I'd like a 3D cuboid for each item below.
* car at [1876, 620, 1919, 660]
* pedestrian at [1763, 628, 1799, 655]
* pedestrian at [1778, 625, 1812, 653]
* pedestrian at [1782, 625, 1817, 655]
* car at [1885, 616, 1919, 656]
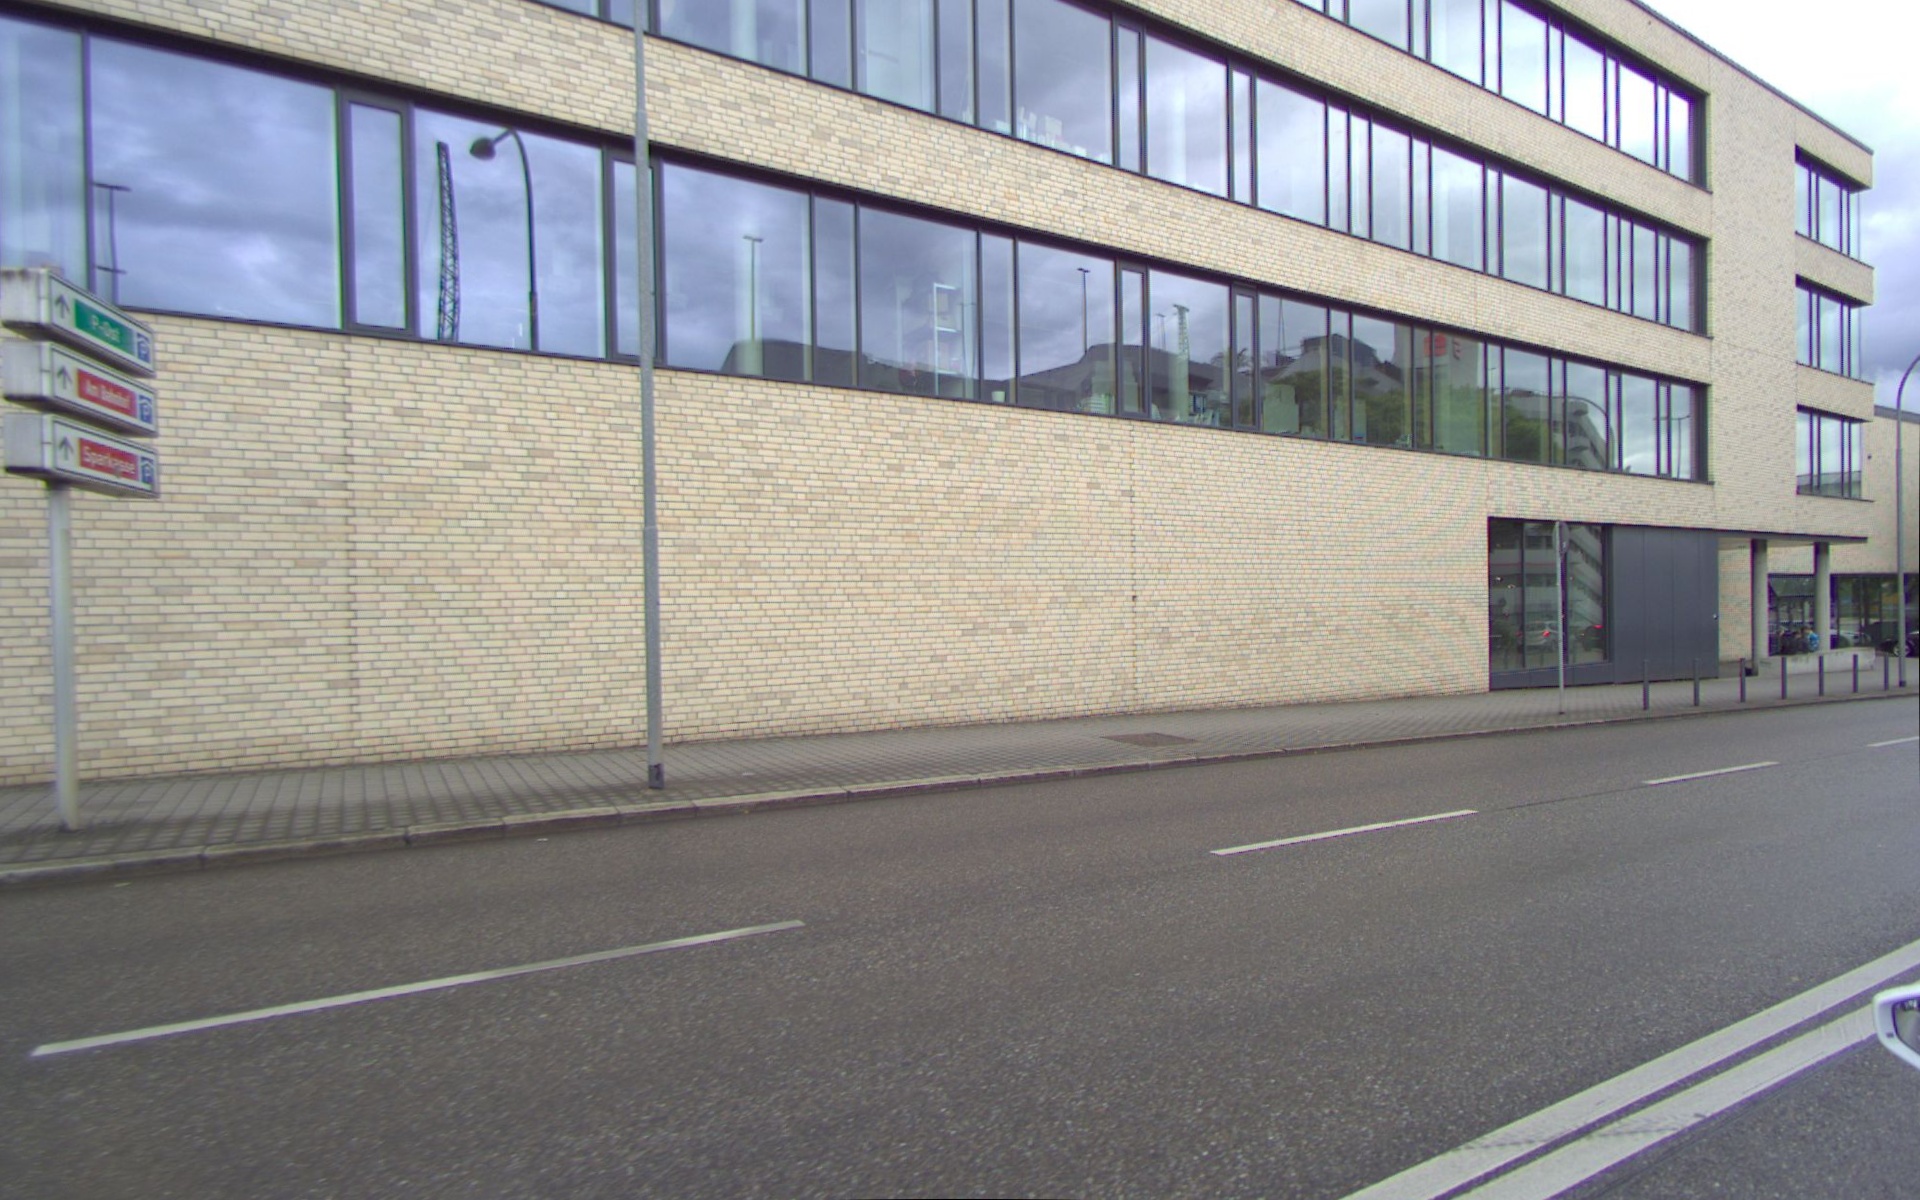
[{"bbox_3d":[40.719,1.645,41.129,1.980,1.608,4.438,1,-1,-35],"label":"car"},{"bbox_3d":[24.952,1.255,30.520,0.751,0.796,0.595,2,1,-30],"label":"pedestrian"},{"bbox_3d":[25.751,1.204,30.982,0.719,0.856,0.583,2,0,-30],"label":"pedestrian"},{"bbox_3d":[26.290,1.255,31.448,0.518,0.897,0.678,2,1,-29],"label":"pedestrian"},{"bbox_3d":[42.350,1.581,42.494,1.979,1.595,4.388,-1,2,-34],"label":"car"}]
